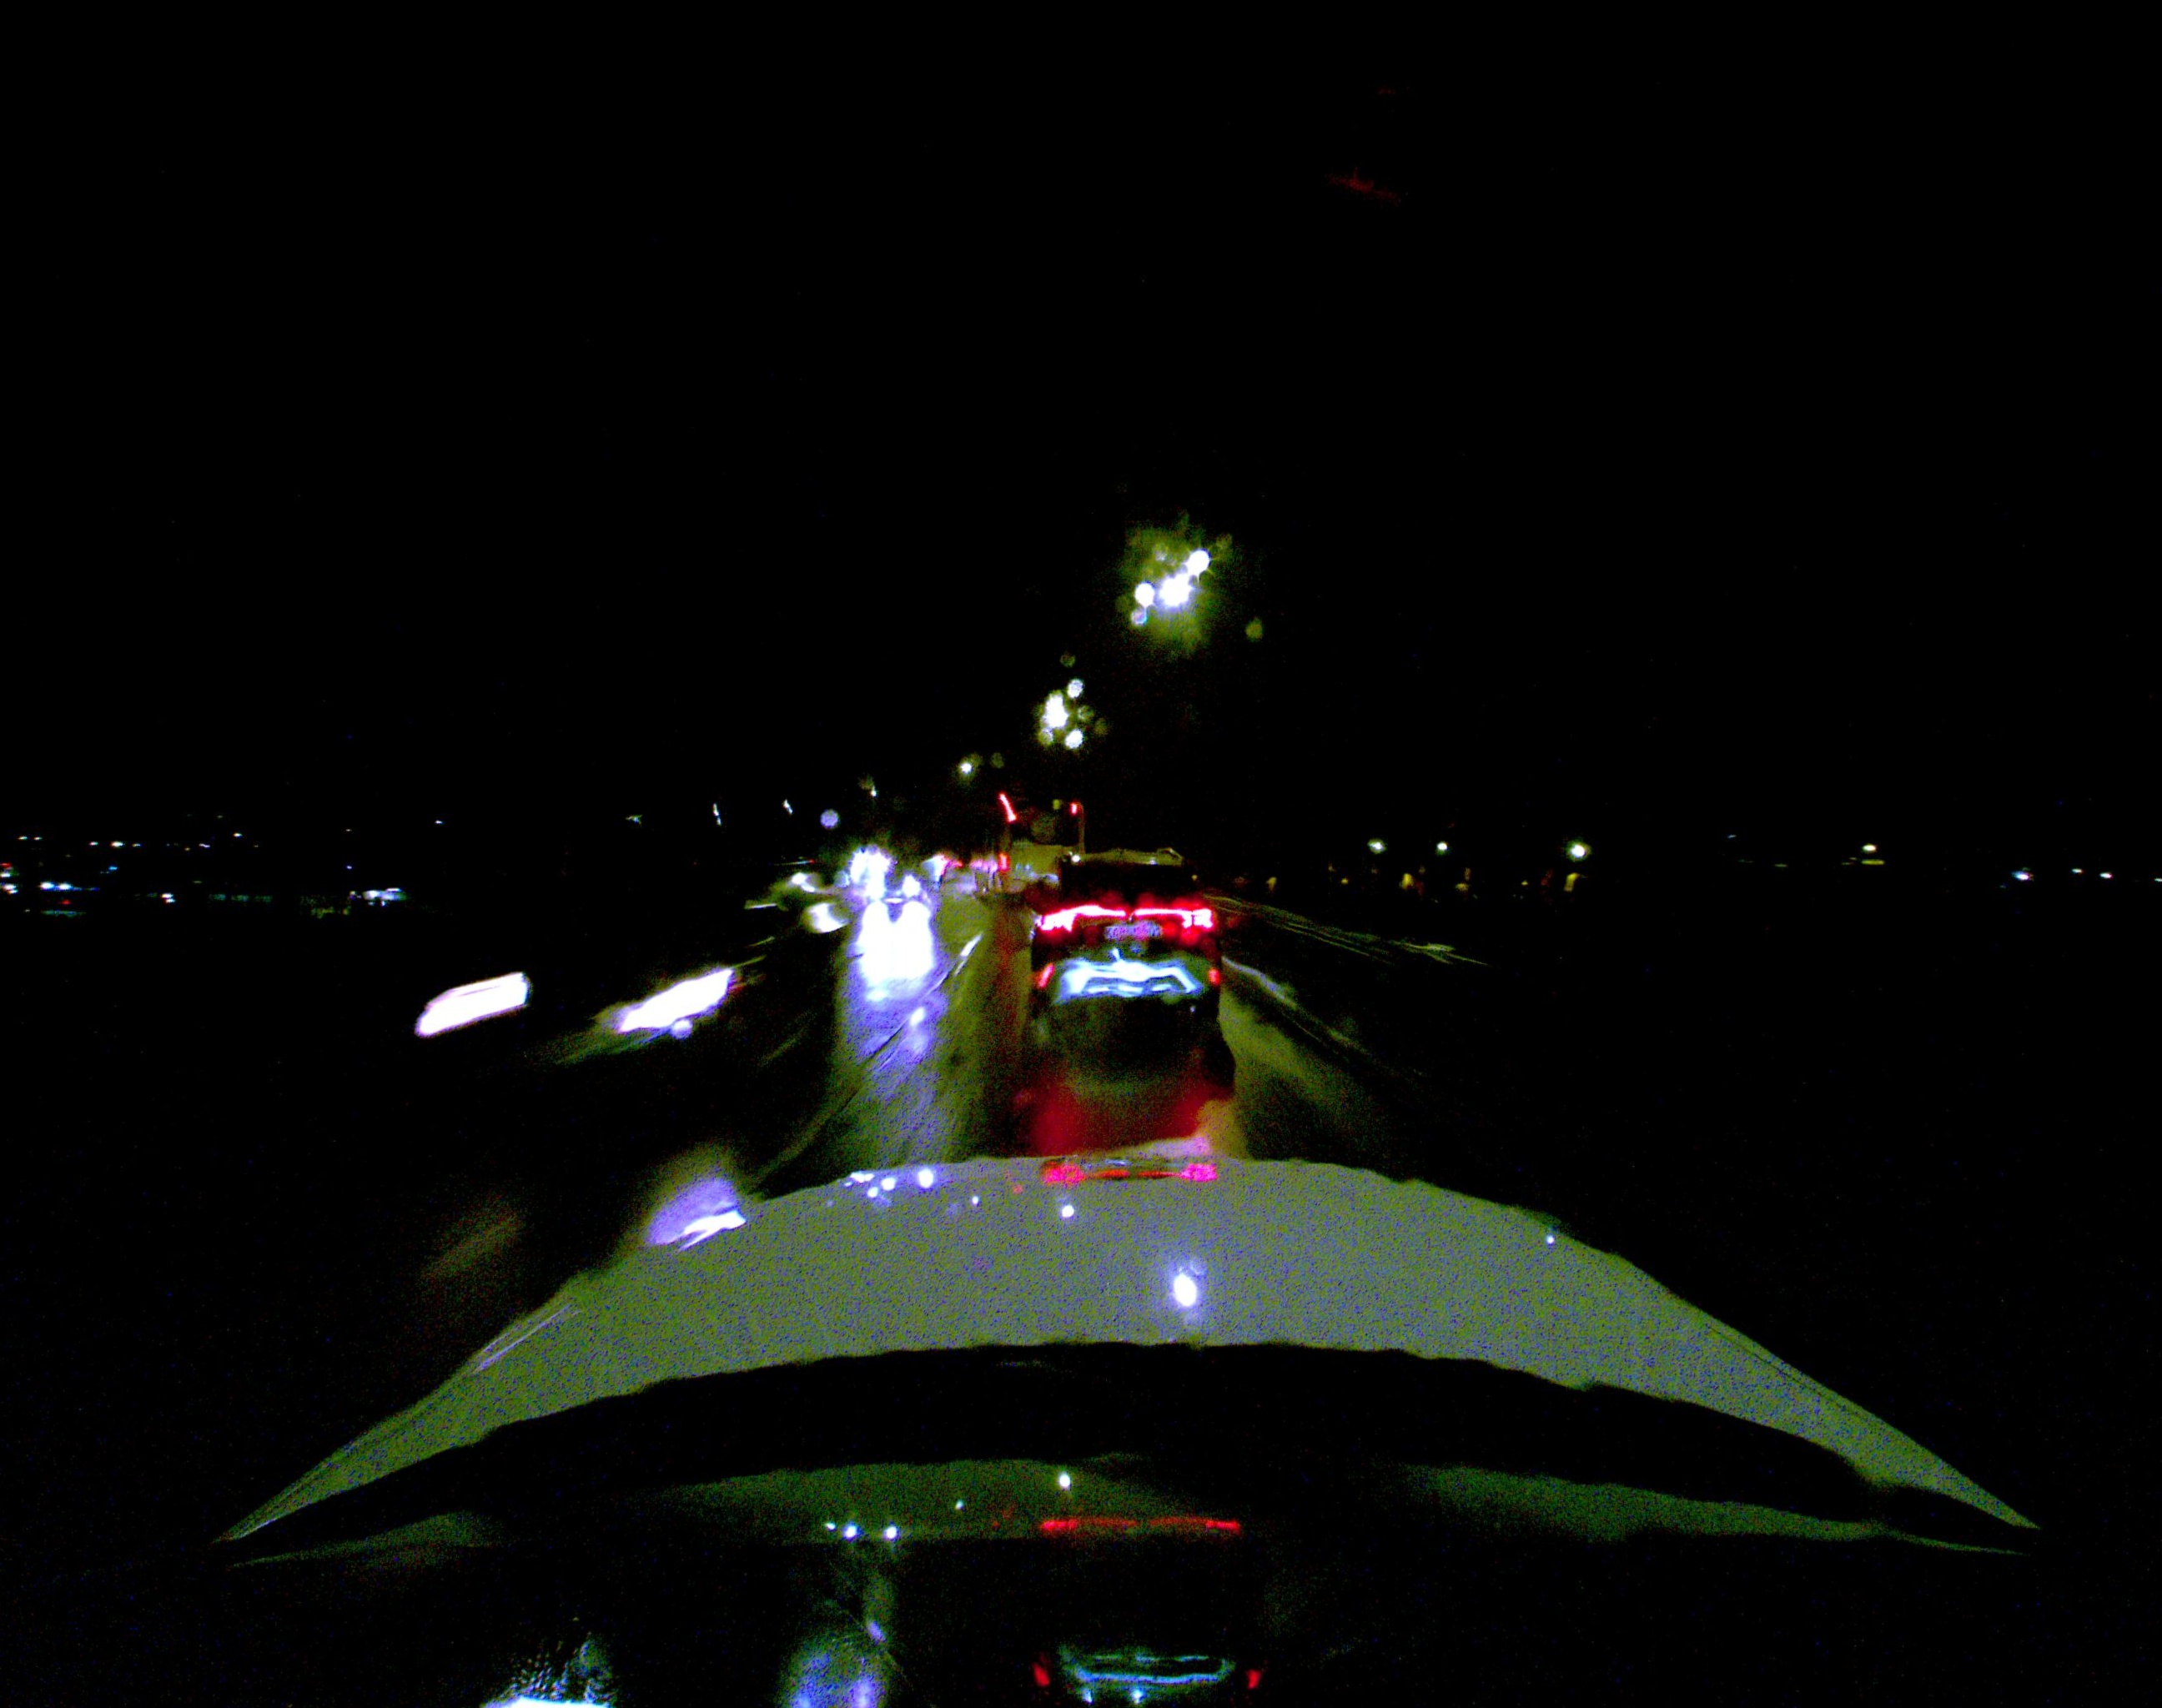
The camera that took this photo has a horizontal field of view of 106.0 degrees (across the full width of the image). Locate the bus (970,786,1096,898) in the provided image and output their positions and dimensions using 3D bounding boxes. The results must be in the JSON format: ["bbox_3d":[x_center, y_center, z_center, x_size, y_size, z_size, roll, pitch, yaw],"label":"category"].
[{"bbox_3d":[-2.187,-0.411,29.380,3.084,3.132,12.653,-2,1,-10],"label":"bus"}]

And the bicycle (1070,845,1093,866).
[{"bbox_3d":[0.029,0.076,42.455,0.486,1.034,2.157,-1,0,-20],"label":"bicycle"}]

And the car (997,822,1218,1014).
[{"bbox_3d":[0.126,0.569,8.782,1.852,1.586,3.995,0,-1,-3],"label":"car"}]

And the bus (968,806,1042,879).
[{"bbox_3d":[-3.855,-0.517,39.579,3.048,3.132,8.053,1,0,-9],"label":"bus"}]

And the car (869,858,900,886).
[{"bbox_3d":[-14.186,1.252,58.642,1.759,1.861,3.974,-3,1,-19],"label":"car"}]

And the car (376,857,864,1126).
[{"bbox_3d":[-3.177,0.785,6.723,1.892,1.439,4.057,-2,0,-4],"label":"car"}]

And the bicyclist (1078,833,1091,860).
[{"bbox_3d":[0.165,-0.383,42.013,0.454,1.349,0.759,0,0,-20],"label":"bicyclist"}]

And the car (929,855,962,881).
[{"bbox_3d":[-9.867,1.034,59.027,1.642,1.655,3.684,-4,0,-20],"label":"car"}]

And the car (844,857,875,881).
[{"bbox_3d":[-19.077,1.265,70.077,1.676,2.013,3.964,-2,0,-27],"label":"car"}]

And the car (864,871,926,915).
[{"bbox_3d":[-6.600,1.338,29.294,1.681,1.391,4.440,0,0,-7],"label":"car"}]
